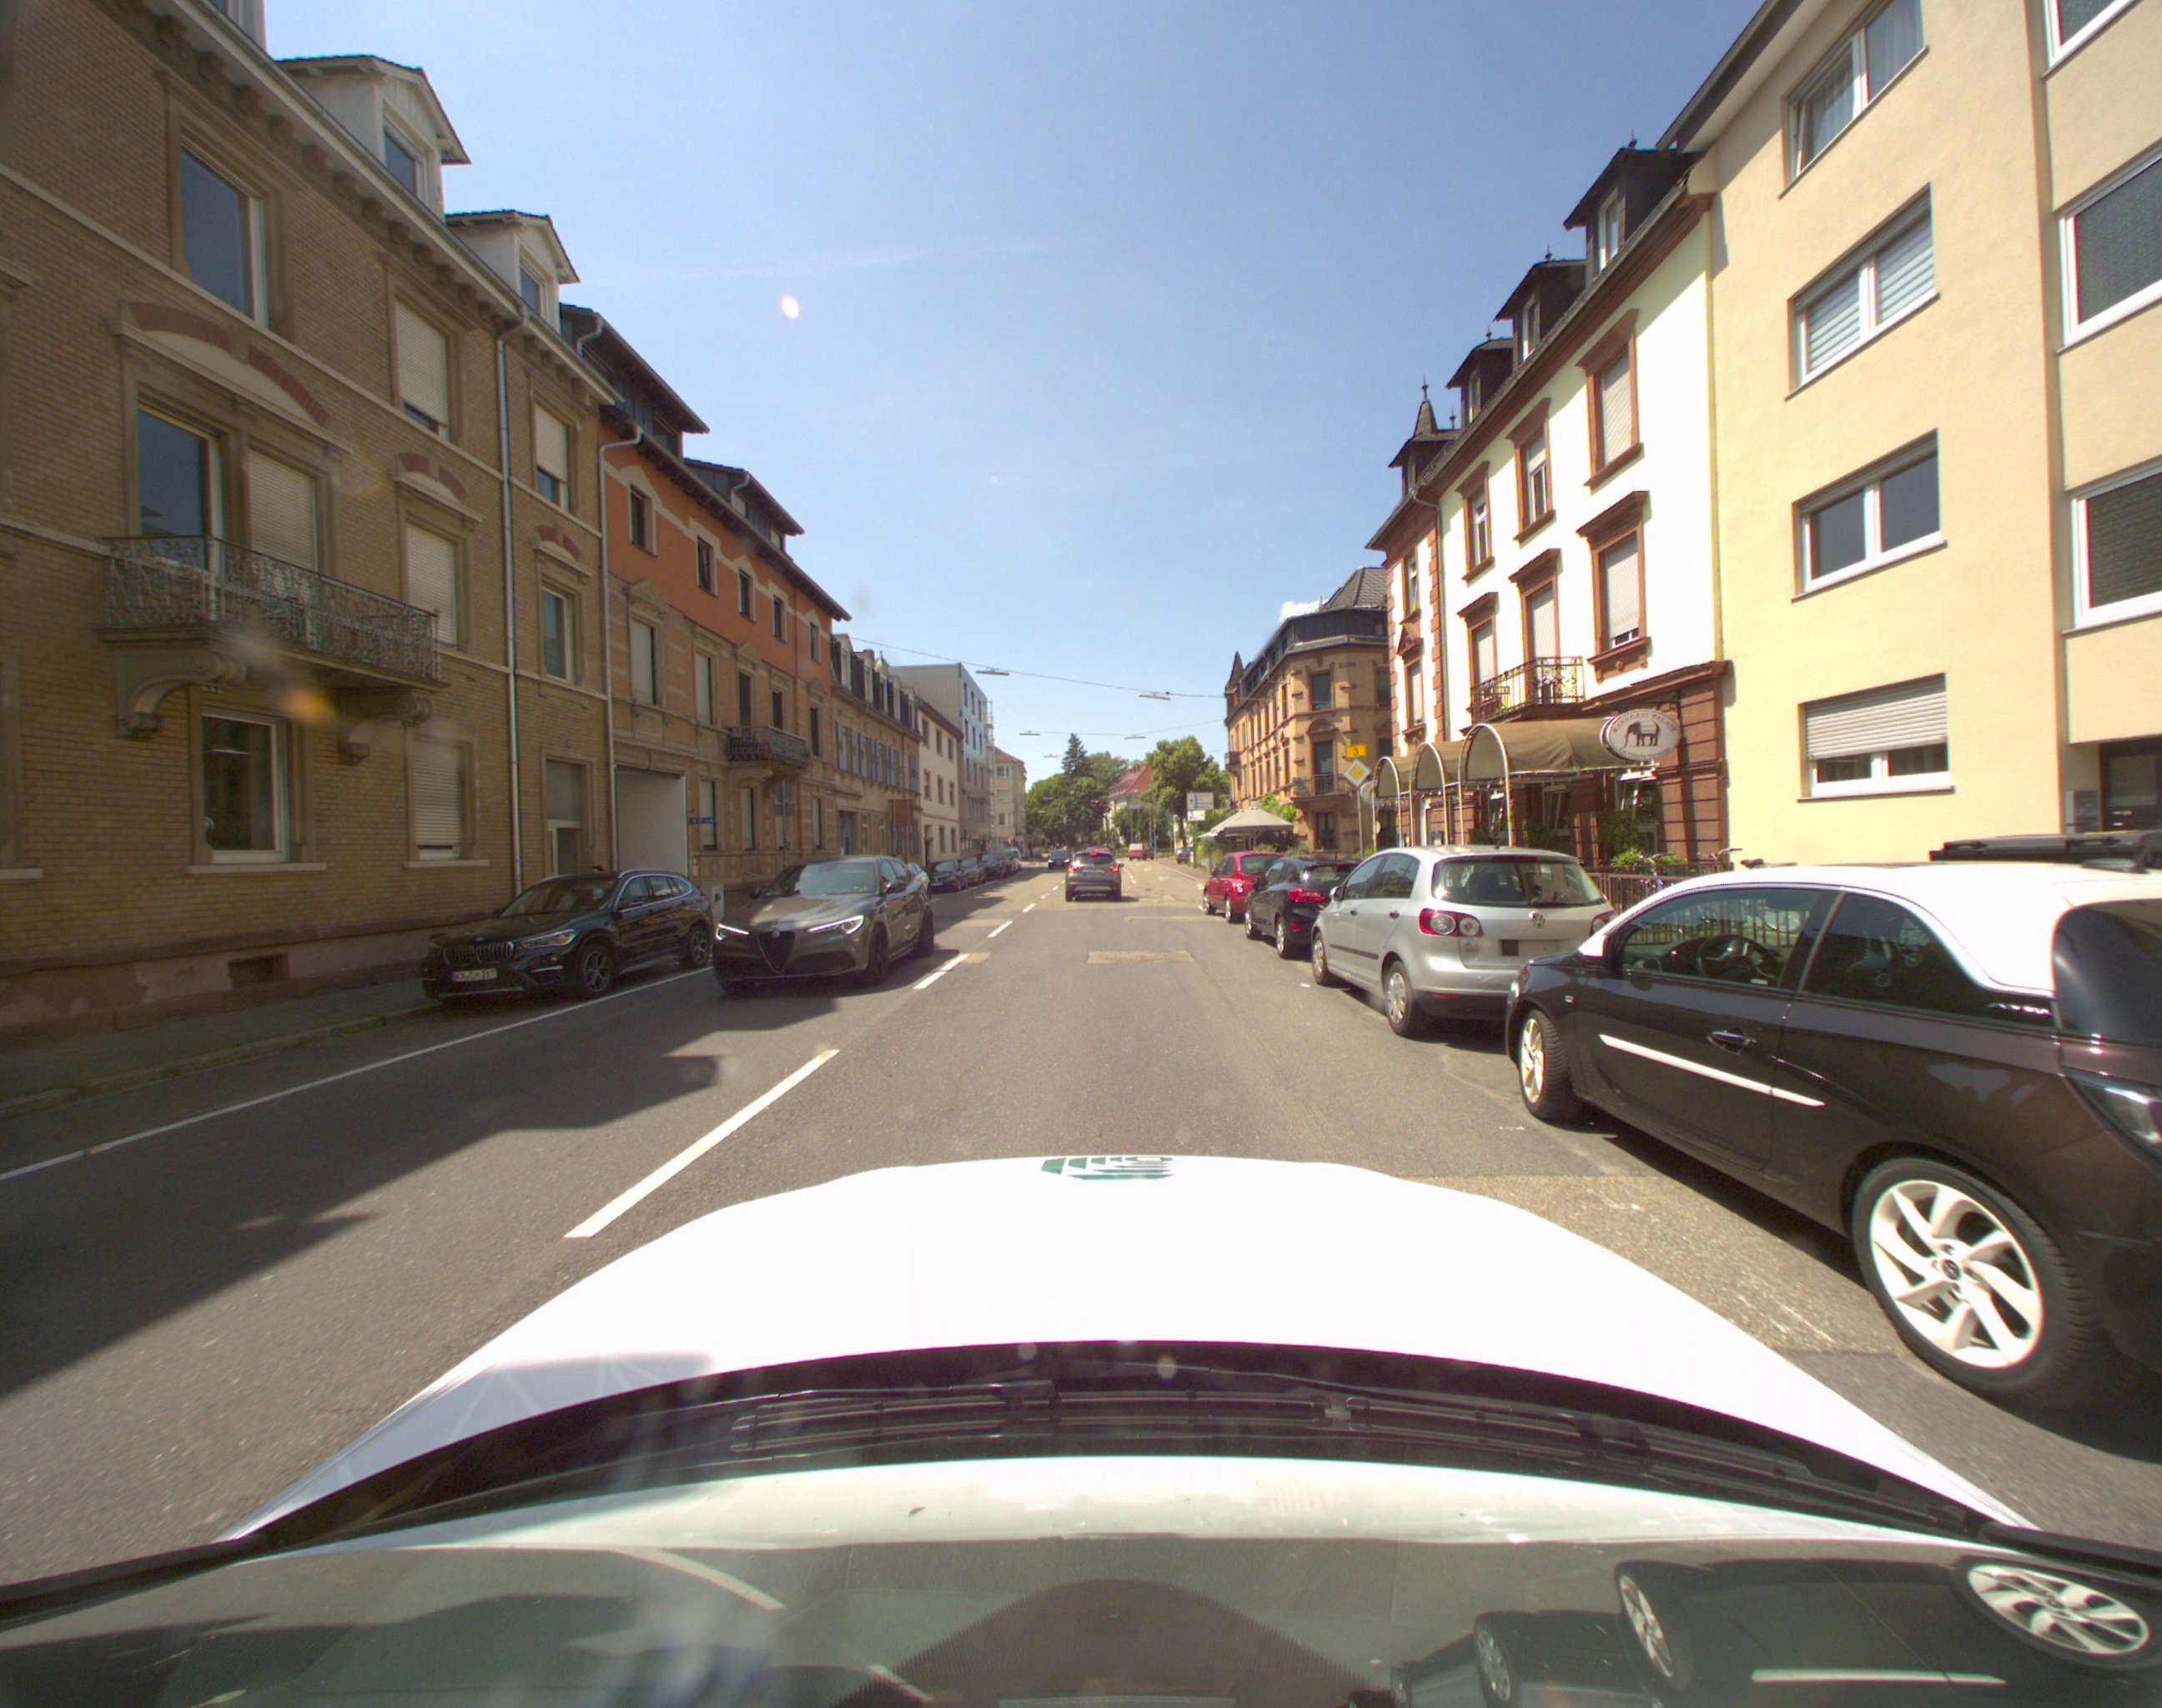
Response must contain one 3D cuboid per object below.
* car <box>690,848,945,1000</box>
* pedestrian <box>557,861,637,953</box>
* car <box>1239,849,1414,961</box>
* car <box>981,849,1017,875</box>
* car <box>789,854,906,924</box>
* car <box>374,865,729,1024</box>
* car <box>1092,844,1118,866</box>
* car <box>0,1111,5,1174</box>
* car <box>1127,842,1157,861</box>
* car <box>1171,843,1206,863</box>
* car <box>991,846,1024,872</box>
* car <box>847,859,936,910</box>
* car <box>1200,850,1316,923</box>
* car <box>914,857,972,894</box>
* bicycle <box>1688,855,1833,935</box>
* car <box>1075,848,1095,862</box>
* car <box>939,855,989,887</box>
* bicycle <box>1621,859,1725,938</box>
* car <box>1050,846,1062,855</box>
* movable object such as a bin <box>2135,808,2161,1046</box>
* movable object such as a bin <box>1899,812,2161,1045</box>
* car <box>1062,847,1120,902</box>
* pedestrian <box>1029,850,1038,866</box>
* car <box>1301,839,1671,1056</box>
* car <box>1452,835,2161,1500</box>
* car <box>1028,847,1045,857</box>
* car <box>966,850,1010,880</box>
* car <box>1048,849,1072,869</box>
[{"bbox_3d":[-3.312,0.772,11.309,1.901,1.610,4.448,-3,0,2],"label":"car"},{"bbox_3d":[-8.533,0.914,14.398,0.798,1.534,0.877,-2,0,6],"label":"pedestrian"},{"bbox_3d":[3.664,0.677,12.861,1.750,1.478,3.934,1,0,3],"label":"car"},{"bbox_3d":[-5.467,0.515,55.139,1.879,1.641,4.662,-3,0,0],"label":"car"},{"bbox_3d":[-6.432,0.892,23.006,1.859,1.627,4.500,-5,0,0],"label":"car"},{"bbox_3d":[-6.884,1.039,11.355,1.859,1.551,4.500,-5,0,0],"label":"car"},{"bbox_3d":[1.764,0.044,59.152,1.791,1.557,4.040,0,0,3],"label":"car"},{"bbox_3d":[-6.992,1.124,2.146,1.898,1.451,4.688,-5,0,2],"label":"car"},{"bbox_3d":[6.904,-0.334,92.100,1.976,1.977,4.527,-2,0,22],"label":"car"},{"bbox_3d":[9.715,-0.094,73.116,1.818,1.548,5.184,-2,1,22],"label":"car"},{"bbox_3d":[-5.502,0.374,61.437,1.907,1.825,4.788,-3,0,0],"label":"car"},{"bbox_3d":[-6.417,0.991,28.145,1.858,1.426,4.332,-5,0,1],"label":"car"},{"bbox_3d":[3.897,0.659,18.542,1.752,1.478,3.782,1,0,-1],"label":"car"},{"bbox_3d":[-6.148,0.925,36.643,1.860,1.406,4.328,-5,0,-2],"label":"car"},{"bbox_3d":[9.166,0.515,11.069,0.549,0.983,1.628,-1,0,-3],"label":"bicycle"},{"bbox_3d":[0.515,0.097,94.206,1.692,1.574,4.322,-2,0,8],"label":"car"},{"bbox_3d":[-5.975,0.832,42.149,1.860,1.406,4.835,-5,0,-1],"label":"car"},{"bbox_3d":[8.097,0.577,11.210,0.547,0.983,1.635,-1,0,13],"label":"bicycle"},{"bbox_3d":[-5.431,-0.858,177.826,1.994,1.906,3.985,-1,1,-11],"label":"car"},{"bbox_3d":[6.945,0.411,4.179,1.277,1.396,1.365,-2,0,2],"label":"movable object such as a bin"},{"bbox_3d":[6.979,0.430,5.596,1.277,1.396,1.414,-2,0,2],"label":"movable object such as a bin"},{"bbox_3d":[0.391,0.592,26.509,1.747,1.632,4.003,0,1,2],"label":"car"},{"bbox_3d":[-6.127,0.509,104.652,0.935,1.931,0.973,-1,0,-11],"label":"pedestrian"},{"bbox_3d":[3.479,0.664,7.939,1.750,1.551,4.069,1,0,3],"label":"car"},{"bbox_3d":[3.383,0.696,3.719,1.750,1.478,3.934,1,0,3],"label":"car"},{"bbox_3d":[-6.870,-0.318,124.261,1.995,1.519,3.983,0,-1,-12],"label":"car"},{"bbox_3d":[-5.514,0.619,48.842,1.877,1.641,4.820,-3,0,2],"label":"car"},{"bbox_3d":[-1.663,0.376,66.486,1.754,1.494,4.246,-2,0,0],"label":"car"}]
